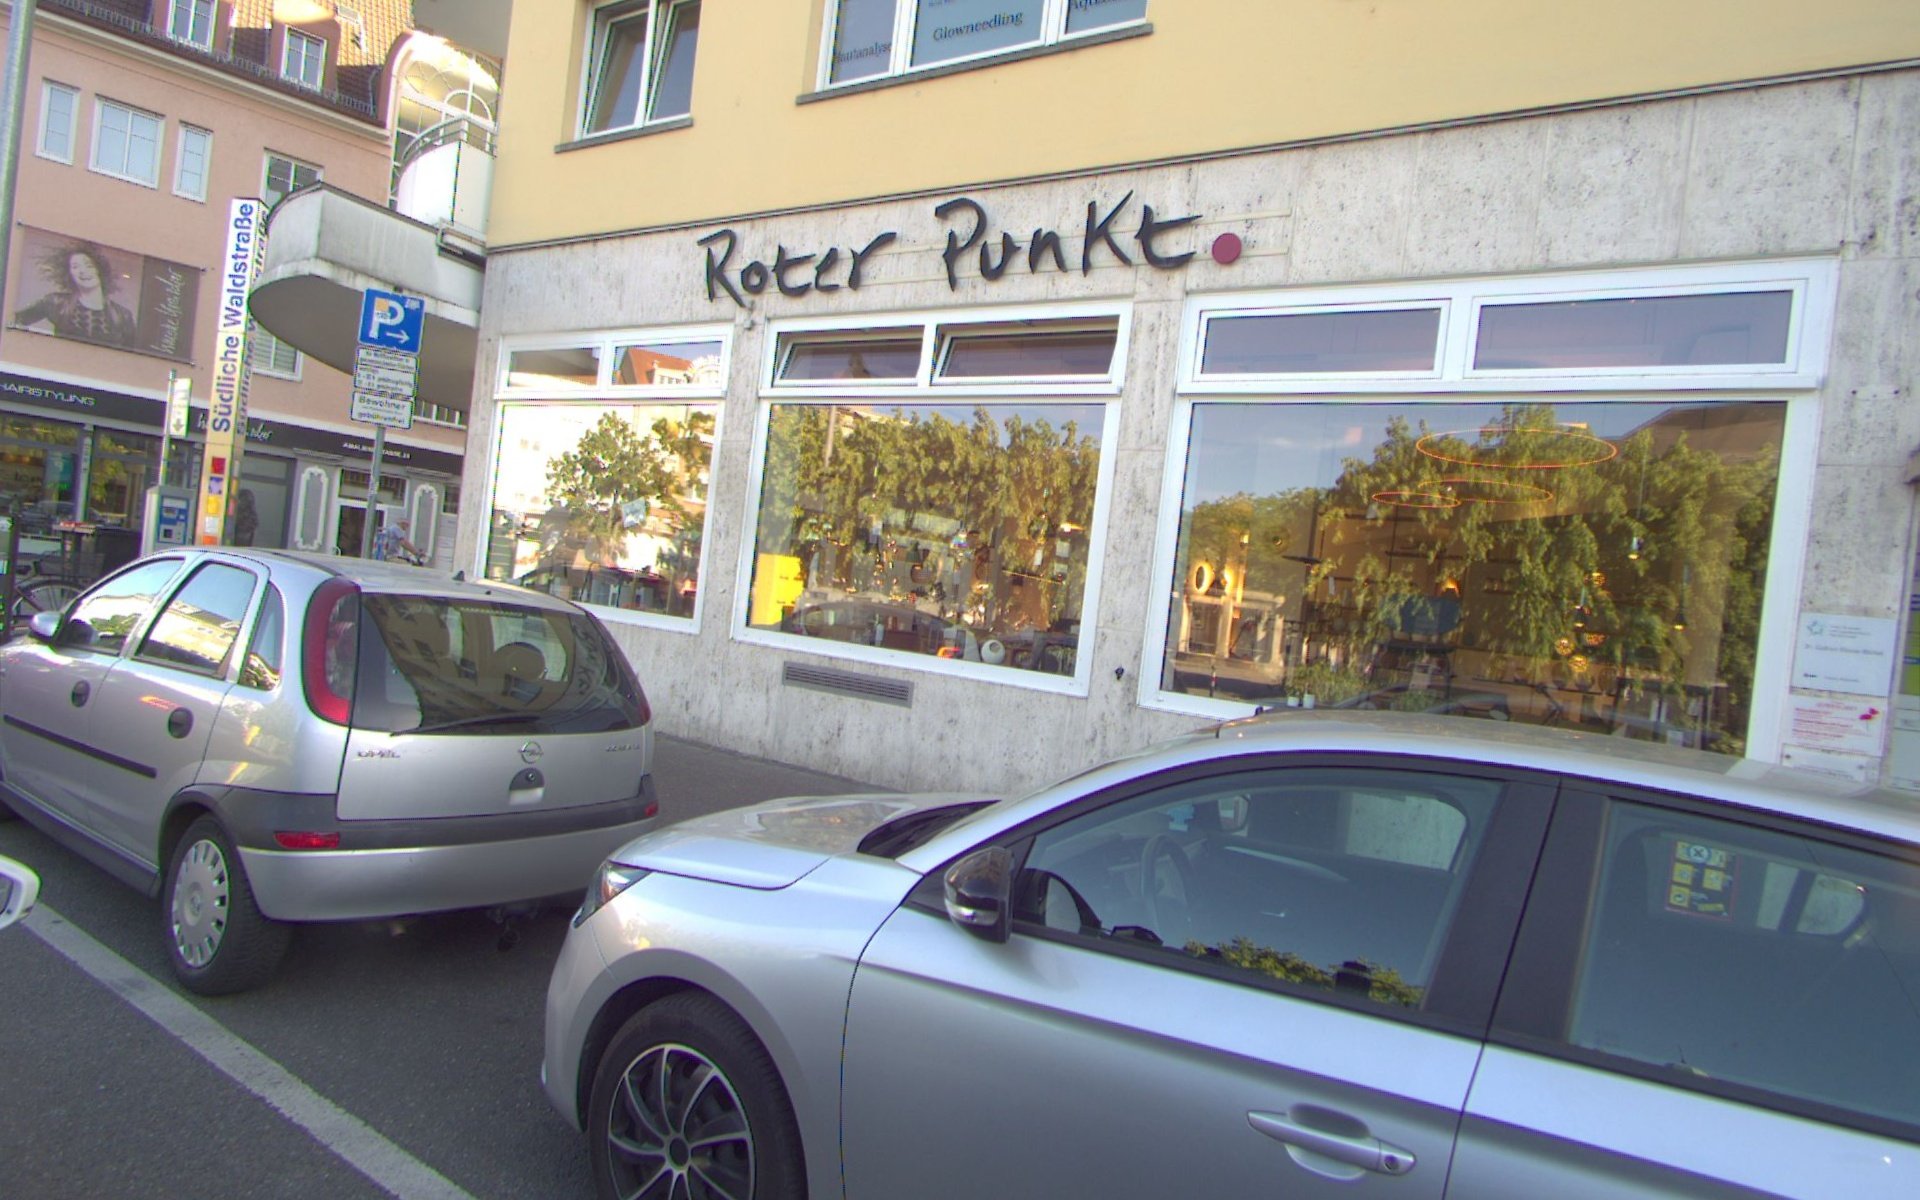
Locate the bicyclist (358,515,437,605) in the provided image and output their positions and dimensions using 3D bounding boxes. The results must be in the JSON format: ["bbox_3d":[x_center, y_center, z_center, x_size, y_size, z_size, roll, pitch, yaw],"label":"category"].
[{"bbox_3d":[-11.512,-0.801,20.591,0.620,1.674,1.118,7,0,42],"label":"bicyclist"}]

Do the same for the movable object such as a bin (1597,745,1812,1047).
[{"bbox_3d":[3.328,1.280,4.567,0.609,1.082,0.703,7,3,31],"label":"movable object such as a bin"}]

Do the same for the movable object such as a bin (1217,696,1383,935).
[{"bbox_3d":[1.861,1.121,5.480,0.609,1.082,0.703,7,3,31],"label":"movable object such as a bin"}]

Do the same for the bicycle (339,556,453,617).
[{"bbox_3d":[-11.542,-0.266,20.630,0.620,0.956,1.862,7,-2,42],"label":"bicycle"}]

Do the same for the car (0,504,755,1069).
[{"bbox_3d":[-2.942,0.457,4.442,3.822,1.411,1.624,7,-1,33],"label":"car"}]

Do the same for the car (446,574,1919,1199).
[{"bbox_3d":[0.954,0.923,2.193,4.008,1.444,1.673,7,-1,30],"label":"car"}]
